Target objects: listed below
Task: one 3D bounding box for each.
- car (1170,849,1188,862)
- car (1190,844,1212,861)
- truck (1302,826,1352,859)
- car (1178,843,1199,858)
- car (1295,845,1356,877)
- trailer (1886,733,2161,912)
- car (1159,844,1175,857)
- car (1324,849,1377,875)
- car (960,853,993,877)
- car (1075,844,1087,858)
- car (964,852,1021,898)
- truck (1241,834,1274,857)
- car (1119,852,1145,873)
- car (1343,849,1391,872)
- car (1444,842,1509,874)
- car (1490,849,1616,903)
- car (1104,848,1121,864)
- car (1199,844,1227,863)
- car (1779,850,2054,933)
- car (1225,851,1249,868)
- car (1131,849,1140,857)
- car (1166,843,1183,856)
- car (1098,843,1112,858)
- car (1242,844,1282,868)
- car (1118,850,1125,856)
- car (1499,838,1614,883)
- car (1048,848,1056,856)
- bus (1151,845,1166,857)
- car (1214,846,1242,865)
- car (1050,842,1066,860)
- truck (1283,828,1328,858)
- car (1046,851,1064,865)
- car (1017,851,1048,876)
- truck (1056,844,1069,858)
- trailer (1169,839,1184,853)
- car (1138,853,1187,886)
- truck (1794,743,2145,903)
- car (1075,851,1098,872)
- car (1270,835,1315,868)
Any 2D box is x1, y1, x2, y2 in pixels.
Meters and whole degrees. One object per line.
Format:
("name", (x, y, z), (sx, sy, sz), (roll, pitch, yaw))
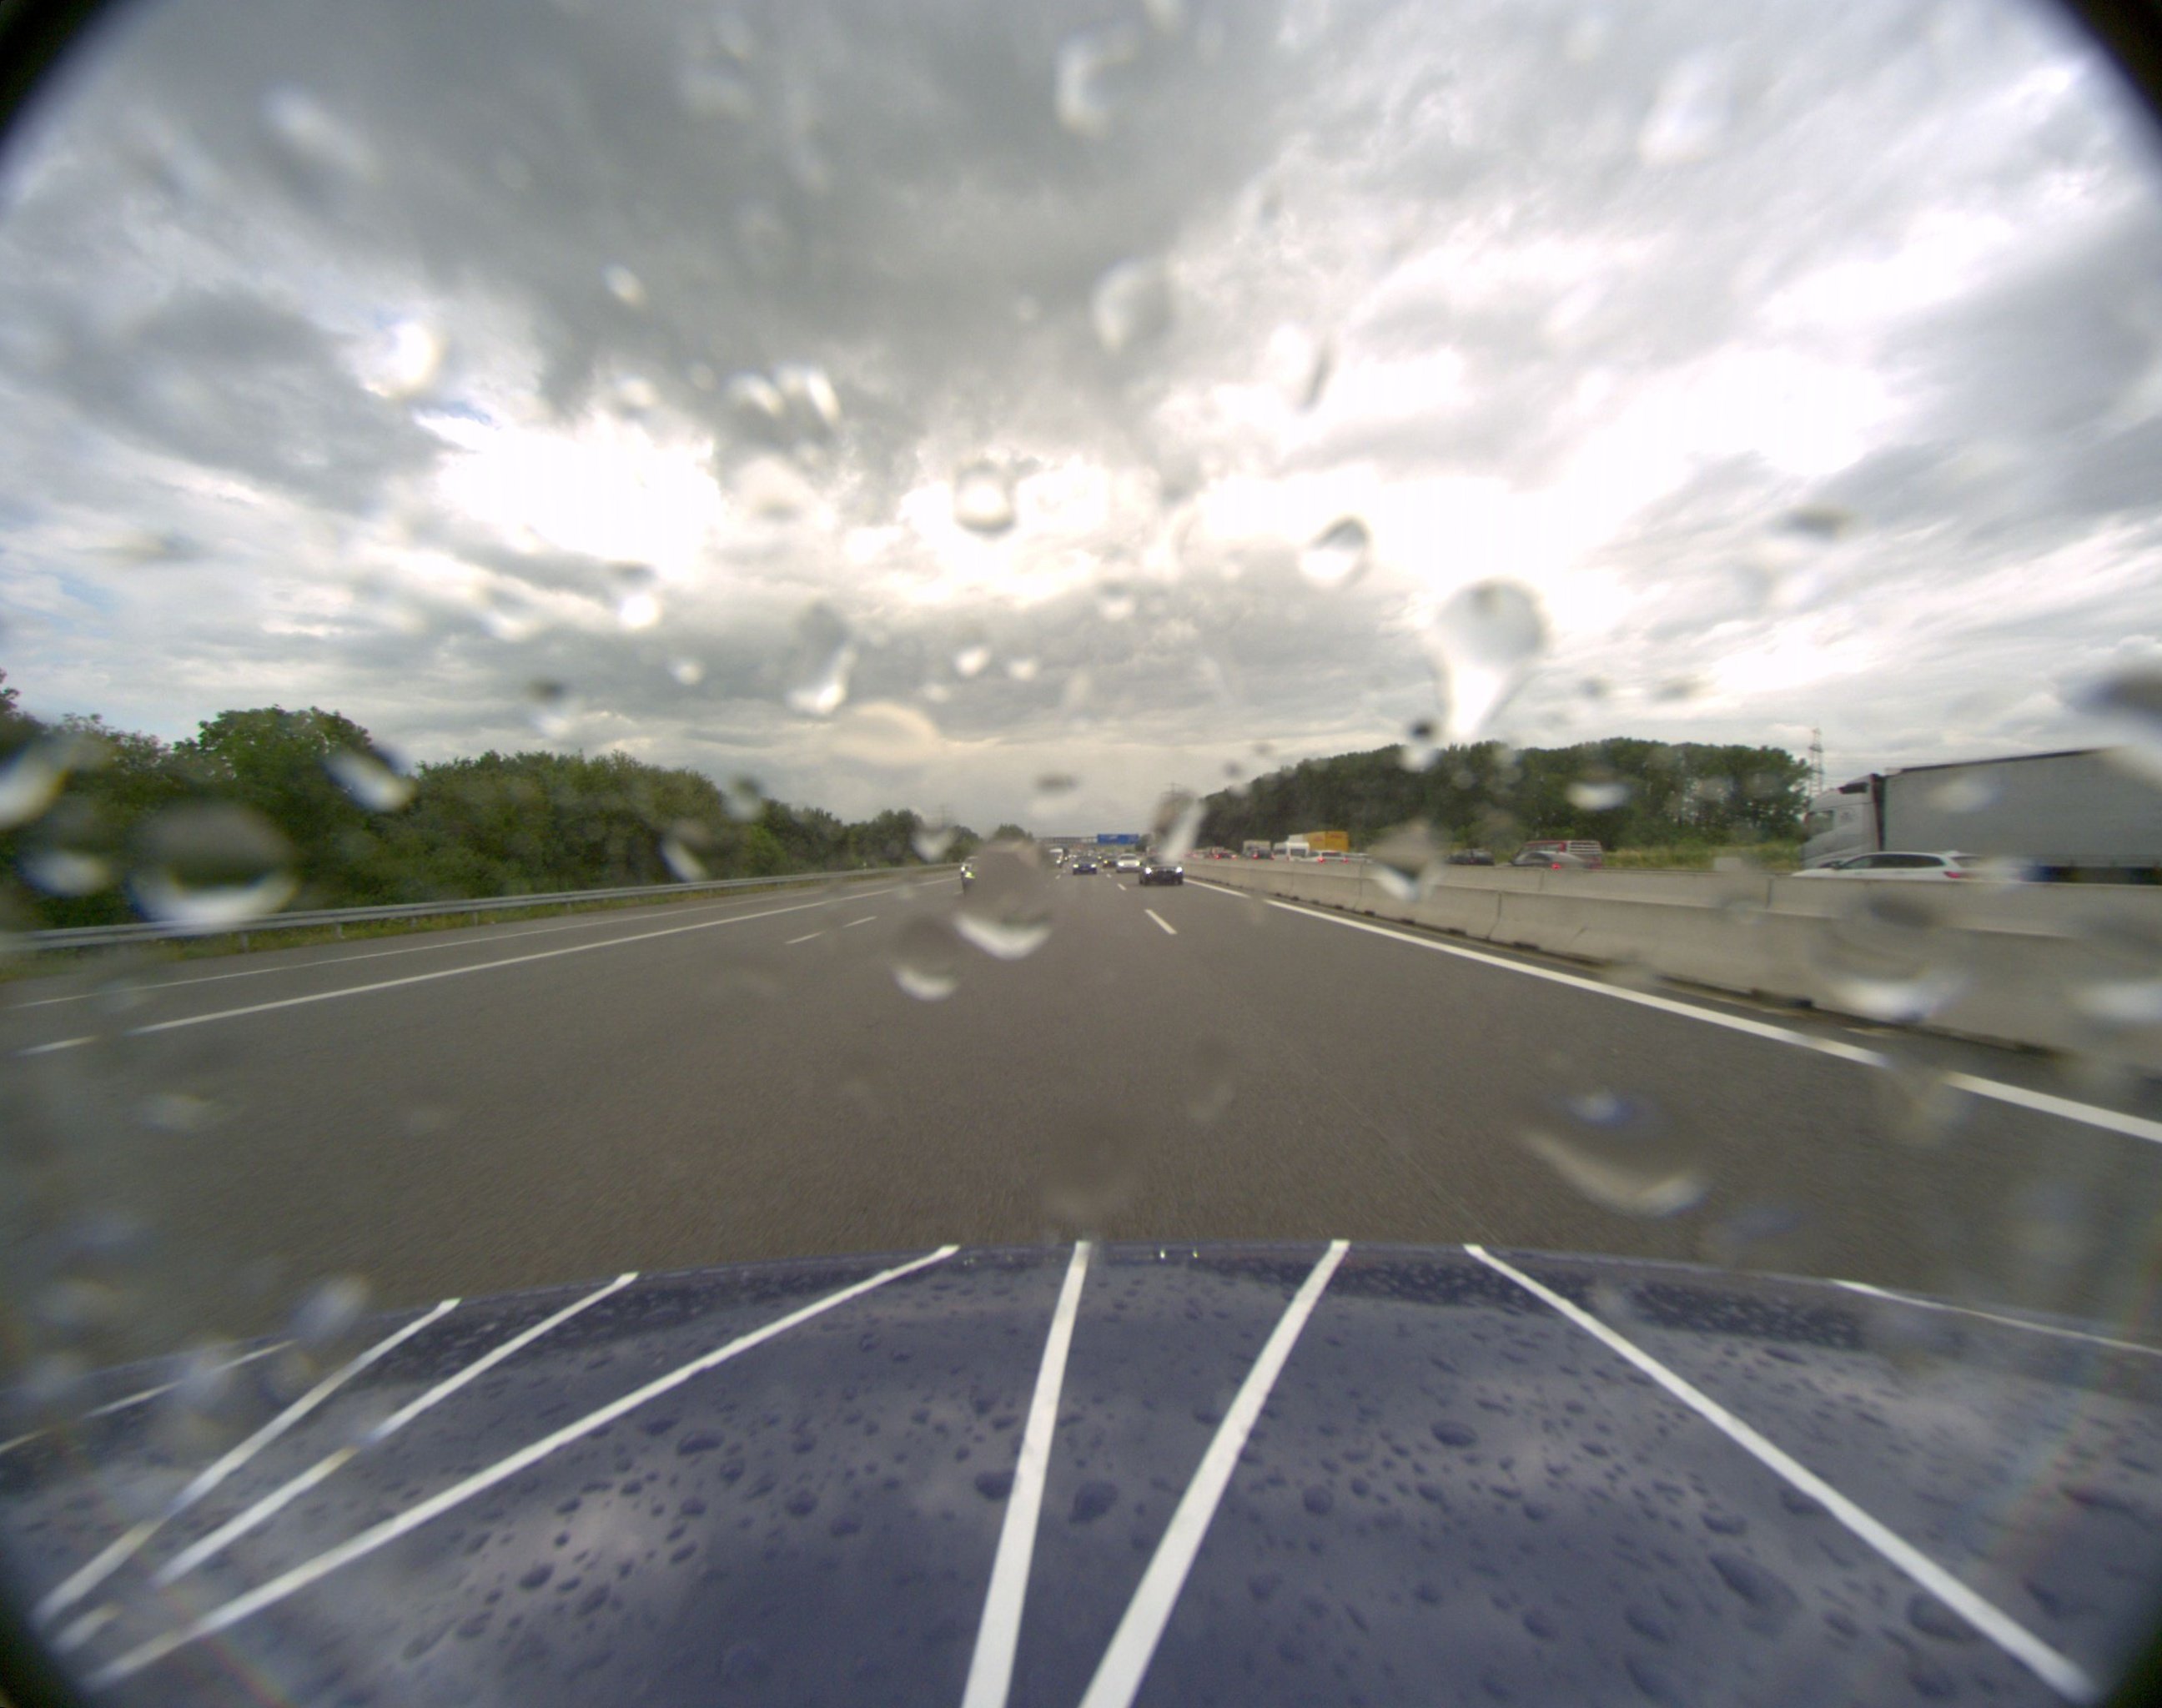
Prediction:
("car", (14.204, 0.198, 110.584), (1.998, 1.893, 4.503), (-2, 0, 0))
("car", (14.610, -0.173, 92.719), (1.998, 2.002, 4.424), (-2, 1, 0))
("truck", (28.747, -1.314, 89.295), (2.885, 3.592, 9.580), (-2, 1, 1))
("car", (14.437, -0.485, 102.293), (1.998, 2.002, 4.686), (-2, 0, 0))
("car", (14.258, 0.382, 44.666), (1.998, 1.705, 4.871), (-2, 0, 0))
("trailer", (25.862, -0.743, 16.000), (3.247, 4.005, 13.806), (-2, 0, 0))
("car", (14.679, -0.619, 130.057), (1.998, 2.002, 5.417), (-2, 0, 0))
("car", (18.557, 0.510, 52.588), (1.998, 1.705, 4.698), (-2, 0, 0))
("car", (-7.570, 0.741, 55.389), (1.815, 1.589, 4.694), (-2, 0, -1))
("car", (0.054, -0.543, 139.114), (2.145, 2.486, 5.447), (-2, 1, 1))
("car", (-3.421, 0.763, 30.124), (1.785, 1.603, 4.597), (-2, 0, -1))
("truck", (26.700, -1.324, 115.524), (2.917, 3.271, 9.200), (-2, 0, 0))
("car", (3.998, 0.638, 60.303), (1.822, 1.565, 4.000), (-2, 0, 1))
("car", (22.421, 0.498, 59.755), (1.998, 1.705, 4.698), (-2, 0, 0))
("car", (26.442, 0.268, 50.980), (1.998, 2.002, 4.542), (-2, 1, 1))
("car", (18.103, 0.770, 29.459), (1.998, 1.862, 4.760), (-2, 0, 1))
("car", (3.351, 0.203, 81.627), (1.711, 1.621, 4.000), (-2, 0, 1))
("car", (14.604, -0.108, 84.282), (1.999, 2.002, 5.757), (-2, 0, 0))
("car", (21.465, 0.859, 19.913), (1.998, 1.862, 4.760), (-2, 0, 1))
("car", (19.434, 0.602, 95.121), (1.998, 2.002, 4.813), (-2, 0, 0))
("car", (14.327, -0.234, 200.598), (1.998, 1.956, 4.695), (-2, 0, 0))
("car", (14.755, -0.678, 119.958), (1.998, 2.002, 5.417), (-2, 0, 0))
("car", (4.036, -0.563, 127.264), (2.145, 2.486, 5.448), (-2, 1, 2))
("car", (14.253, 0.131, 60.170), (1.998, 1.771, 4.672), (-2, 0, 0))
("car", (13.101, -0.440, 245.058), (1.998, 1.956, 4.695), (-2, 0, 0))
("car", (21.917, 0.260, 35.343), (1.998, 1.862, 5.392), (-2, 0, 1))
("car", (-7.449, -0.405, 196.282), (1.999, 2.002, 4.354), (-2, 1, -1))
("bus", (21.578, -0.874, 212.445), (2.694, 3.365, 13.996), (-2, 0, 0))
("car", (14.368, 0.112, 74.375), (1.998, 1.740, 4.000), (-2, 0, 0))
("car", (-3.395, -0.464, 114.222), (2.145, 2.486, 5.447), (-2, 1, 0))
("truck", (28.918, -1.413, 98.481), (2.885, 3.592, 10.311), (-2, 1, 1))
("car", (-3.025, 0.433, 88.948), (1.945, 1.482, 4.774), (-2, 0, -2))
("car", (-3.380, 0.650, 53.469), (1.711, 1.621, 4.457), (-2, 0, 1))
("truck", (-3.860, -0.674, 155.344), (2.392, 2.726, 6.591), (-2, 0, -3))
("trailer", (26.055, -2.133, 208.539), (2.867, 3.740, 9.159), (-1, 0, 0))
("car", (3.761, 0.671, 35.603), (1.922, 1.407, 4.000), (-1, 0, 1))
("truck", (25.864, -0.816, 22.729), (3.229, 4.034, 6.231), (-2, 1, 0))
("car", (0.442, 0.564, 59.463), (1.711, 1.562, 4.346), (-2, 0, 1))
("car", (22.059, -0.255, 79.575), (2.667, 3.259, 6.561), (-2, 1, -1))
